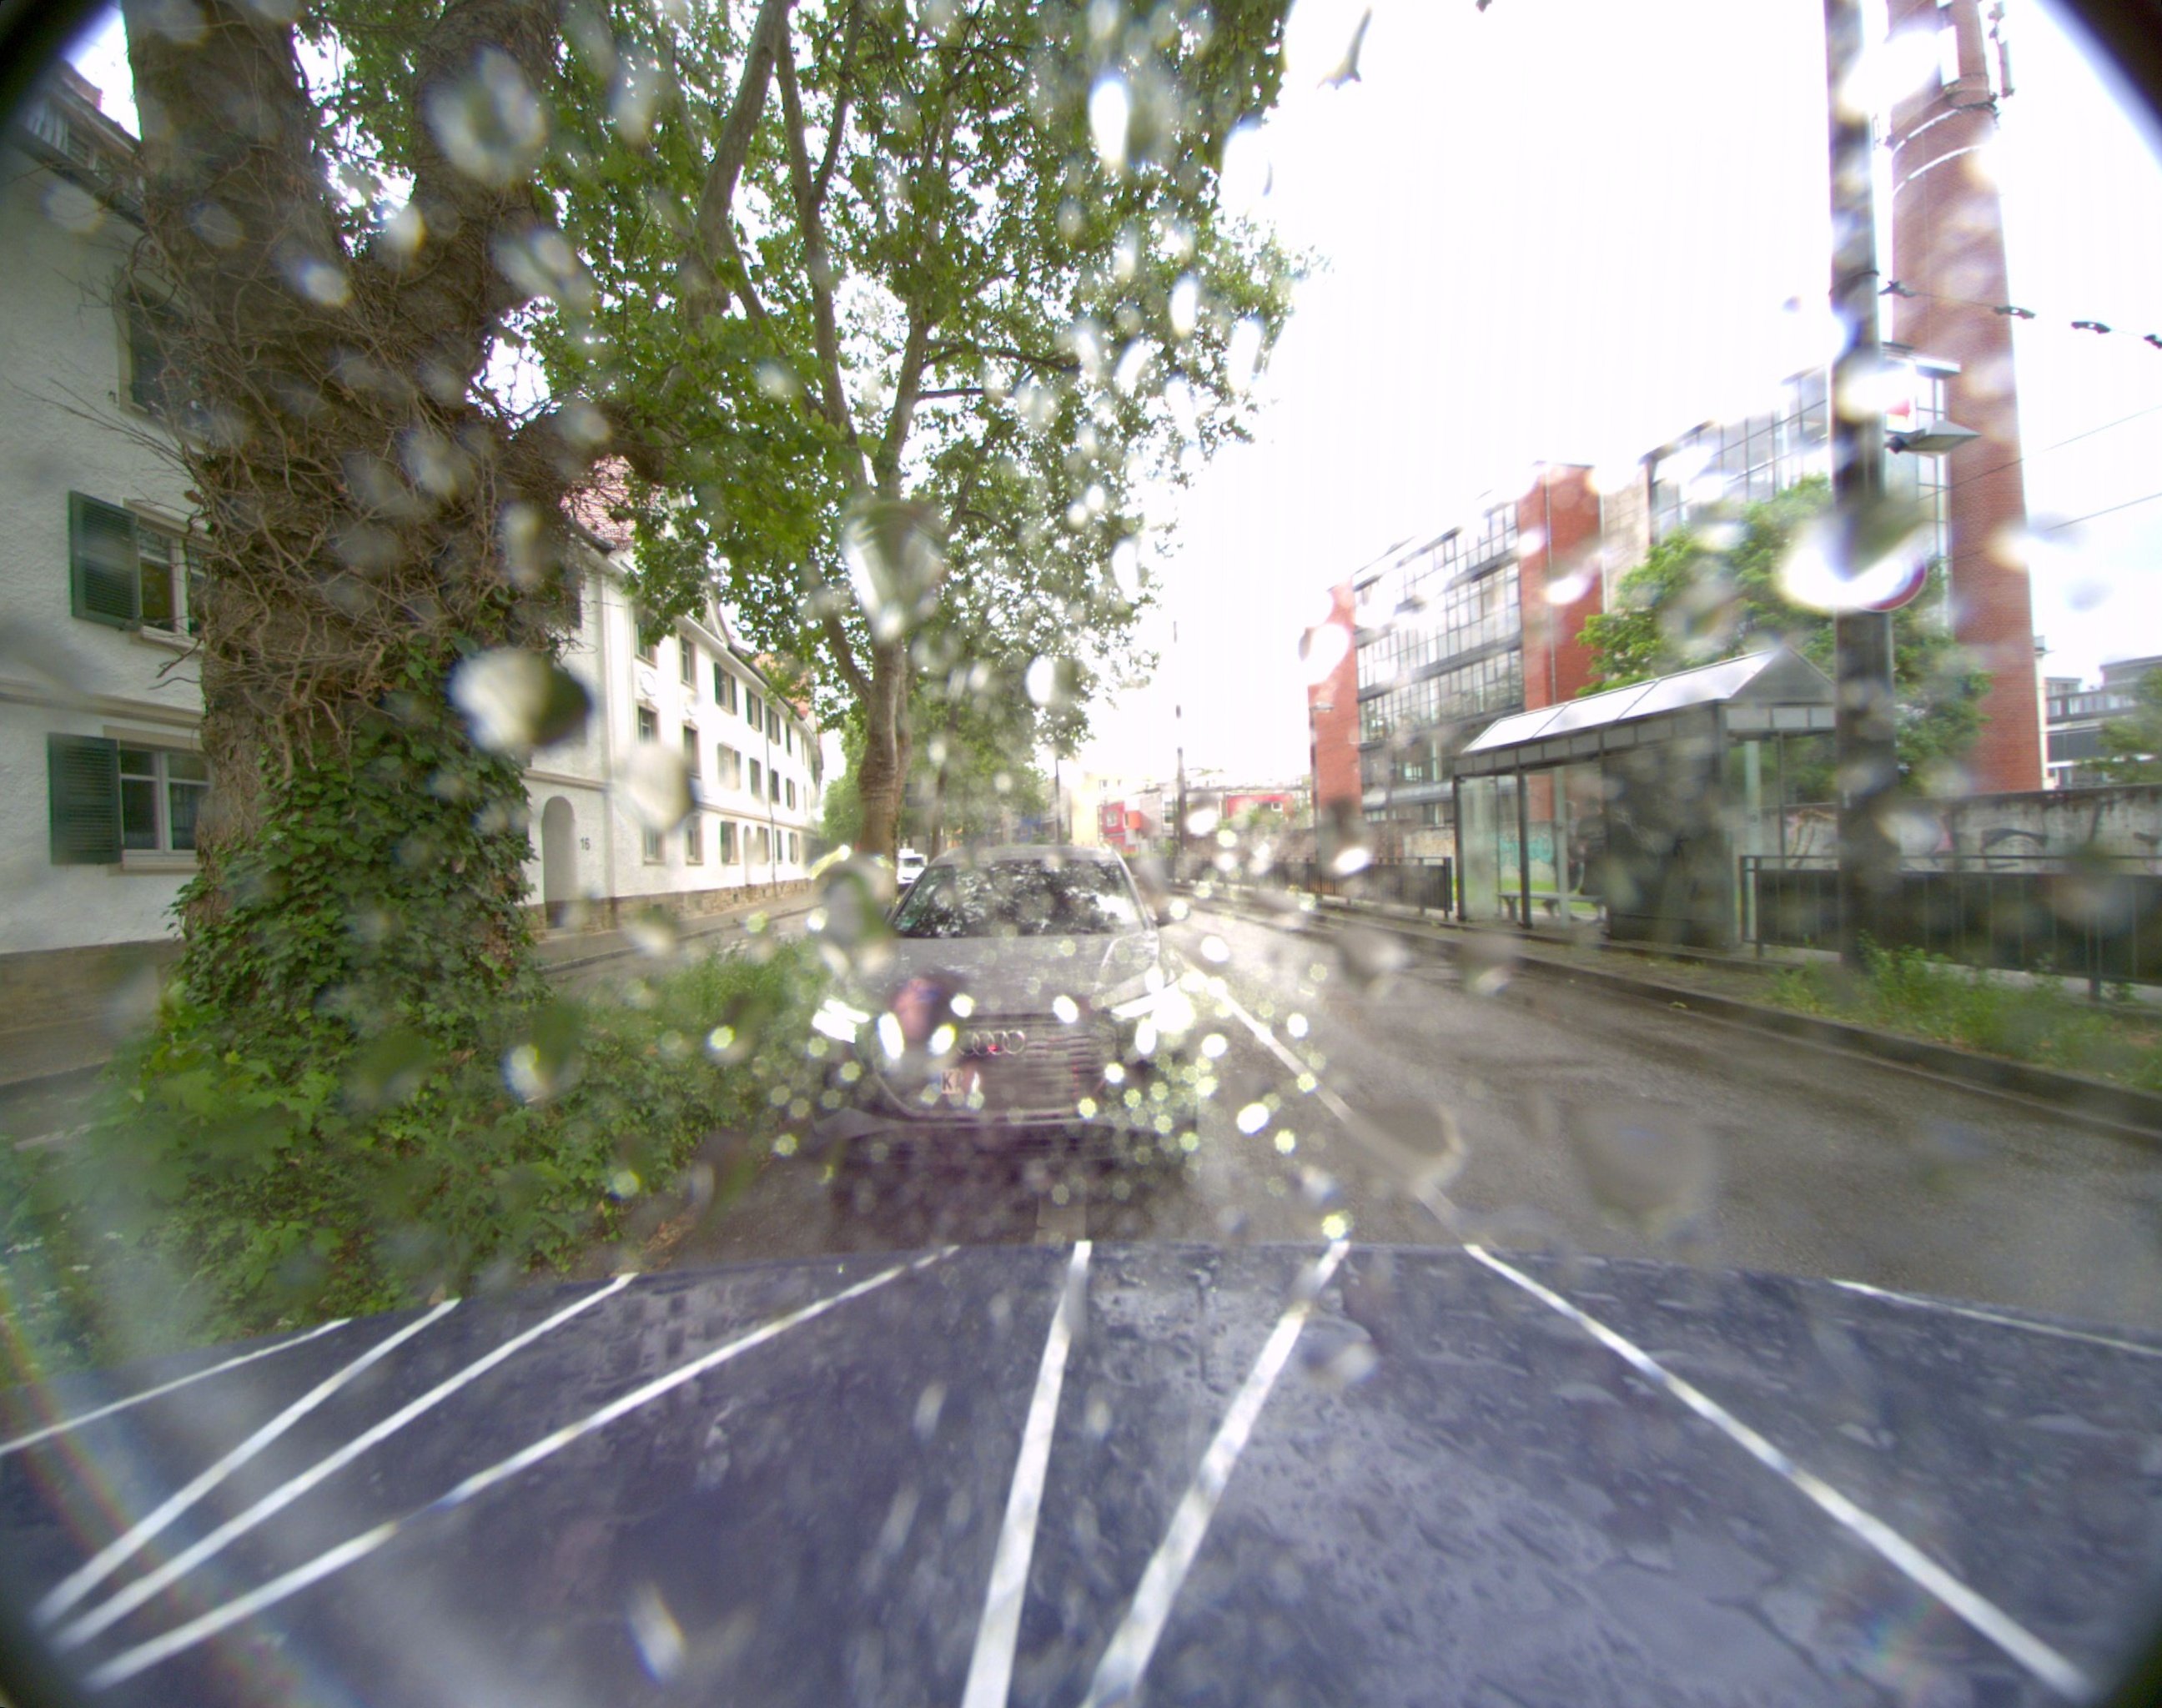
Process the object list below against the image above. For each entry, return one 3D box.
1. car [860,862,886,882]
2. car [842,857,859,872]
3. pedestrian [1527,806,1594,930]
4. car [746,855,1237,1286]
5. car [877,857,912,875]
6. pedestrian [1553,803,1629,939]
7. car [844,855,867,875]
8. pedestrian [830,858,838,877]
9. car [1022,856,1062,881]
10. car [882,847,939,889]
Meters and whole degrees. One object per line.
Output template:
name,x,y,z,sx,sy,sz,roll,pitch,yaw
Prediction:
car,-17.728,1.483,64.734,1.834,1.517,3.993,-3,1,-19
car,-33.502,1.473,110.325,2.002,2.001,3.993,3,-1,-20
pedestrian,6.928,0.202,11.002,0.629,1.738,0.514,-2,1,9
car,-0.413,0.875,5.128,1.917,1.632,4.106,-2,0,-2
car,-23.216,1.501,94.665,4.002,2.002,1.997,-2,0,-17
pedestrian,6.732,0.220,10.053,0.629,1.738,0.564,-2,1,9
car,-23.292,1.115,78.429,2.002,2.001,3.993,3,-1,-20
pedestrian,-23.709,1.274,72.978,0.674,1.811,0.678,-3,1,-18
car,-2.544,0.906,48.783,1.720,1.451,3.743,-2,1,-15
car,-10.185,0.807,44.982,2.199,2.250,5.401,-3,0,-24
